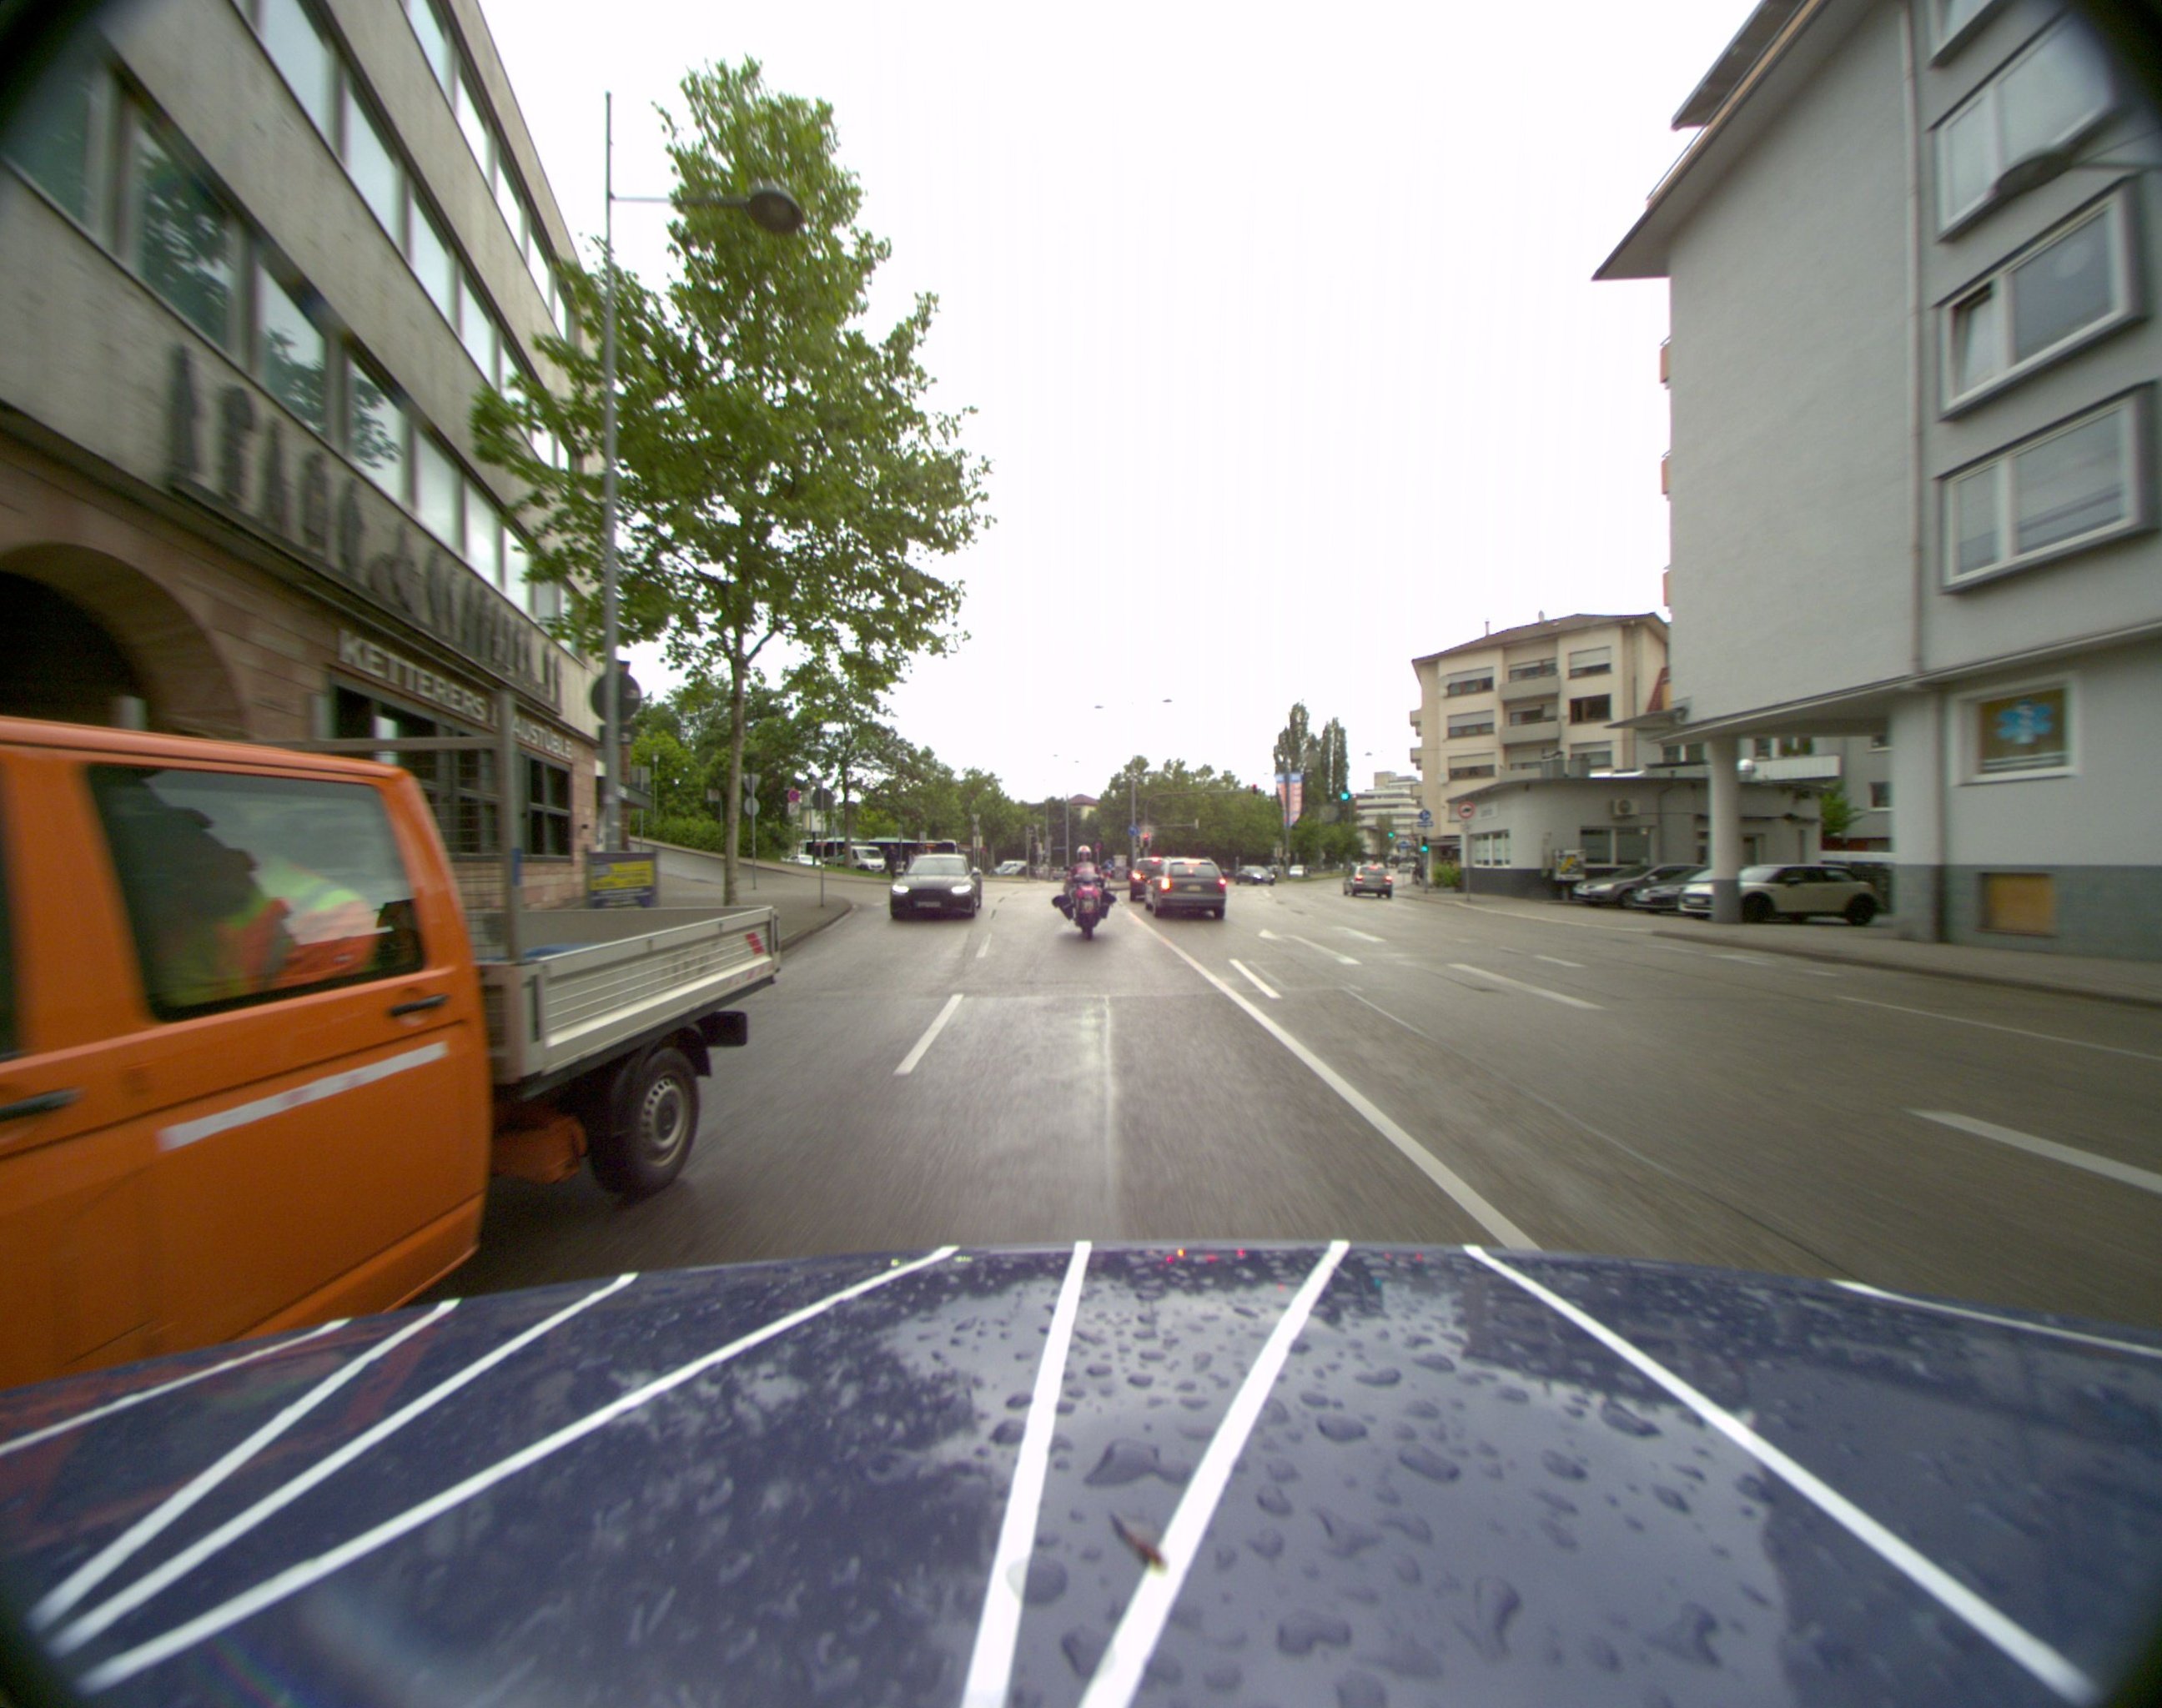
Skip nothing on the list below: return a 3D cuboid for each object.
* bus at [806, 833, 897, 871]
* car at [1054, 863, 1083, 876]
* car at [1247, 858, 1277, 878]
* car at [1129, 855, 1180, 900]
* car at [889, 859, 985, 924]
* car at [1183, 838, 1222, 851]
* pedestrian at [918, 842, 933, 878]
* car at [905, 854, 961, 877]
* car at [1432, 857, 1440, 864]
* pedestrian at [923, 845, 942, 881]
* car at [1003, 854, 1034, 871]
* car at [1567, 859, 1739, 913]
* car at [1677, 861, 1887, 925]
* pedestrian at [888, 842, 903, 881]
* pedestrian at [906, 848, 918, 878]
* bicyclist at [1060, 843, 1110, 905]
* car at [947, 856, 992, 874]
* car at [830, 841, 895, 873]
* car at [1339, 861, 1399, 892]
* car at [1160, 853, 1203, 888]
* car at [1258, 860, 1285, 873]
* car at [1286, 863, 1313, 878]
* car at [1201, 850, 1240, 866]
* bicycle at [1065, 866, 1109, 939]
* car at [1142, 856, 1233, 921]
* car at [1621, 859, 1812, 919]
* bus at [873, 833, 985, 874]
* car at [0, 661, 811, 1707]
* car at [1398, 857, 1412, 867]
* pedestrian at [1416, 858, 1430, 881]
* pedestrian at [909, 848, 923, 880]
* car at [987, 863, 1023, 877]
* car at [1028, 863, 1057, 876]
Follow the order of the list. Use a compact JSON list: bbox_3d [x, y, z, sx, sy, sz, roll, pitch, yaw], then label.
[{"bbox_3d":[-20.467,-0.208,67.510,8.536,3.162,2.693,0,1,32],"label":"bus"},{"bbox_3d":[-1.486,1.906,93.681,1.758,1.581,4.186,1,-1,29],"label":"car"},{"bbox_3d":[13.659,1.016,57.578,1.802,1.425,4.400,-2,0,9],"label":"car"},{"bbox_3d":[2.540,0.782,26.849,1.647,1.445,3.991,0,0,4],"label":"car"},{"bbox_3d":[-3.489,0.844,19.134,1.897,1.396,4.359,0,0,-4],"label":"car"},{"bbox_3d":[16.377,-1.288,102.399,4.742,1.396,1.866,-4,-2,33],"label":"car"},{"bbox_3d":[-8.875,0.332,43.363,0.589,2.001,0.786,2,0,-22],"label":"pedestrian"},{"bbox_3d":[-9.671,0.720,49.398,1.799,1.366,4.085,1,0,-41],"label":"car"},{"bbox_3d":[84.573,1.534,181.145,1.604,1.422,3.952,2,1,27],"label":"car"},{"bbox_3d":[-7.653,0.468,39.150,0.744,1.819,0.693,3,0,-18],"label":"pedestrian"},{"bbox_3d":[-8.616,1.200,104.859,1.968,2.305,5.023,1,-1,26],"label":"car"},{"bbox_3d":[17.471,0.947,23.359,3.821,1.413,1.797,2,2,3],"label":"car"},{"bbox_3d":[16.812,0.911,18.338,3.631,1.330,1.495,2,0,1],"label":"car"},{"bbox_3d":[-8.366,0.323,34.205,0.573,1.677,0.962,3,2,-14],"label":"pedestrian"},{"bbox_3d":[-9.596,0.519,43.115,0.558,1.695,0.528,2,0,-17],"label":"pedestrian"},{"bbox_3d":[0.099,0.425,15.458,0.962,1.218,0.715,-1,-3,4],"label":"bicyclist"},{"bbox_3d":[-9.523,0.928,64.648,3.559,1.442,1.594,-1,-2,30],"label":"car"},{"bbox_3d":[-16.540,0.181,57.270,2.260,2.221,6.323,0,0,-41],"label":"car"},{"bbox_3d":[12.996,1.019,34.553,1.731,1.358,4.114,0,-2,9],"label":"car"},{"bbox_3d":[5.123,0.813,38.309,1.758,1.605,4.216,1,-1,12],"label":"car"},{"bbox_3d":[23.797,1.555,94.753,1.892,1.479,4.370,1,0,33],"label":"car"},{"bbox_3d":[24.418,1.830,84.887,1.892,1.566,4.370,1,0,29],"label":"car"},{"bbox_3d":[19.312,0.550,105.535,4.839,1.930,1.954,-4,-2,33],"label":"car"},{"bbox_3d":[0.163,0.923,15.410,0.717,1.298,2.428,-1,1,4],"label":"bicycle"},{"bbox_3d":[2.599,0.798,19.484,1.737,1.431,4.413,0,0,0],"label":"car"},{"bbox_3d":[17.399,0.930,20.954,3.765,1.412,1.638,2,0,3],"label":"car"},{"bbox_3d":[-12.645,-0.096,62.781,9.631,3.197,2.711,1,-1,31],"label":"bus"},{"bbox_3d":[-2.865,0.683,1.970,2.106,2.077,5.542,2,0,2],"label":"car"},{"bbox_3d":[47.978,1.125,112.448,1.677,1.384,4.160,2,0,26],"label":"car"},{"bbox_3d":[26.298,1.212,58.418,0.778,1.718,0.662,-5,-3,31],"label":"pedestrian"},{"bbox_3d":[-8.435,0.501,38.822,0.602,1.590,0.705,3,1,-17],"label":"pedestrian"},{"bbox_3d":[-8.273,1.728,82.984,1.852,1.431,4.271,0,-1,29],"label":"car"},{"bbox_3d":[-4.845,1.906,95.252,1.758,1.581,4.009,1,-1,29],"label":"car"}]
